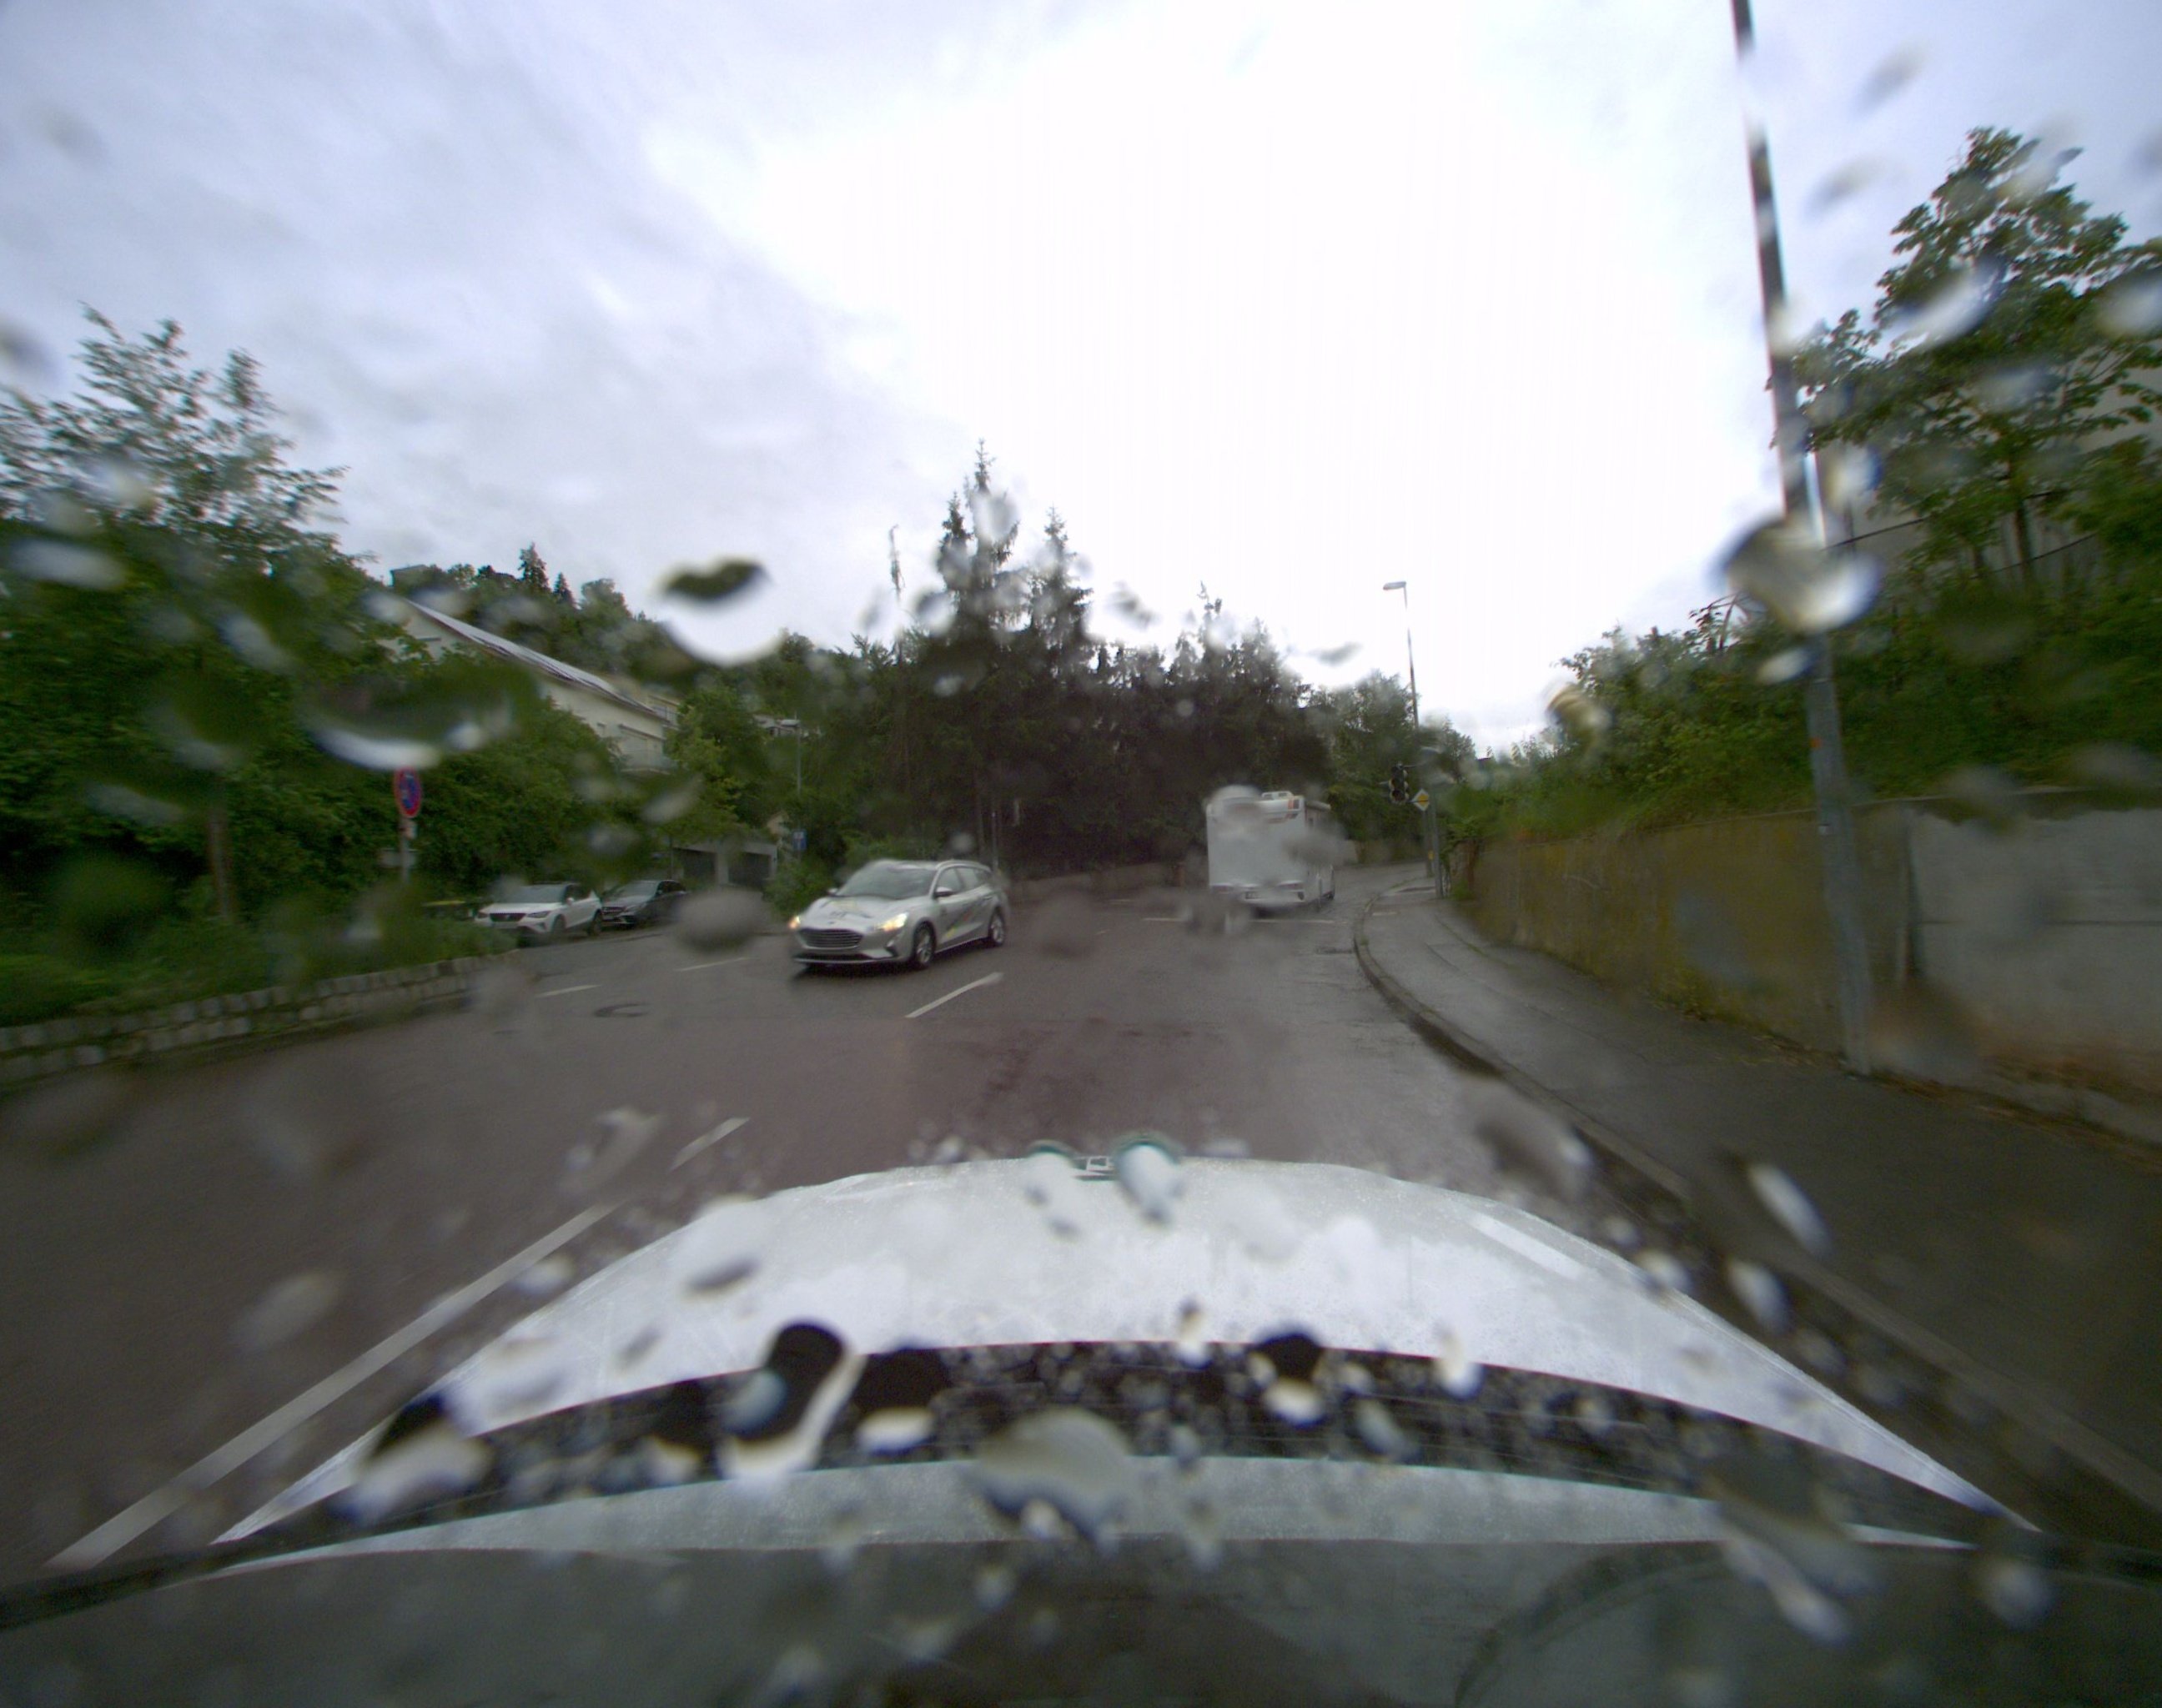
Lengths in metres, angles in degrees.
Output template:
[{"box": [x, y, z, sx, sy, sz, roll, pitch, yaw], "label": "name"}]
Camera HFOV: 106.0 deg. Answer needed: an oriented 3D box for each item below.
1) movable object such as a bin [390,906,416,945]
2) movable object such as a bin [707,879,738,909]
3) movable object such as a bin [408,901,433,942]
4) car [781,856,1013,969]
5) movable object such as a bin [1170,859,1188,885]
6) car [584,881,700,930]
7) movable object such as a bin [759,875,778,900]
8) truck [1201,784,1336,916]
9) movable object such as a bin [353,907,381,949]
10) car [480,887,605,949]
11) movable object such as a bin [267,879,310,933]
[{"box": [-16.550, 1.734, 19.884, 0.290, 0.915, 0.394, 0, -1, -4], "label": "movable object such as a bin"}, {"box": [-14.828, 1.668, 33.708, 0.849, 1.198, 0.933, -1, -1, 2], "label": "movable object such as a bin"}, {"box": [-16.606, 1.696, 20.477, 0.305, 0.995, 0.370, 0, -1, -4], "label": "movable object such as a bin"}, {"box": [-2.535, 0.742, 12.378, 1.583, 1.413, 4.254, -1, 0, 16], "label": "car"}, {"box": [3.852, 0.703, 32.088, 0.495, 0.979, 0.493, -1, 1, 35], "label": "movable object such as a bin"}, {"box": [-13.983, 1.590, 26.242, 1.595, 1.360, 4.440, -1, -1, -4], "label": "car"}, {"box": [-15.472, 1.642, 40.334, 0.701, 1.223, 0.591, -1, -1, 5], "label": "movable object such as a bin"}, {"box": [4.979, -0.107, 20.706, 2.494, 2.817, 6.233, -2, 0, 20], "label": "truck"}, {"box": [-16.487, 1.702, 18.806, 0.300, 0.915, 0.376, 0, -1, -4], "label": "movable object such as a bin"}, {"box": [-13.748, 1.569, 21.033, 1.546, 1.330, 3.728, 0, -1, -14], "label": "car"}, {"box": [-16.053, 1.042, 16.504, 0.365, 1.064, 0.499, -1, -1, -4], "label": "movable object such as a bin"}]
